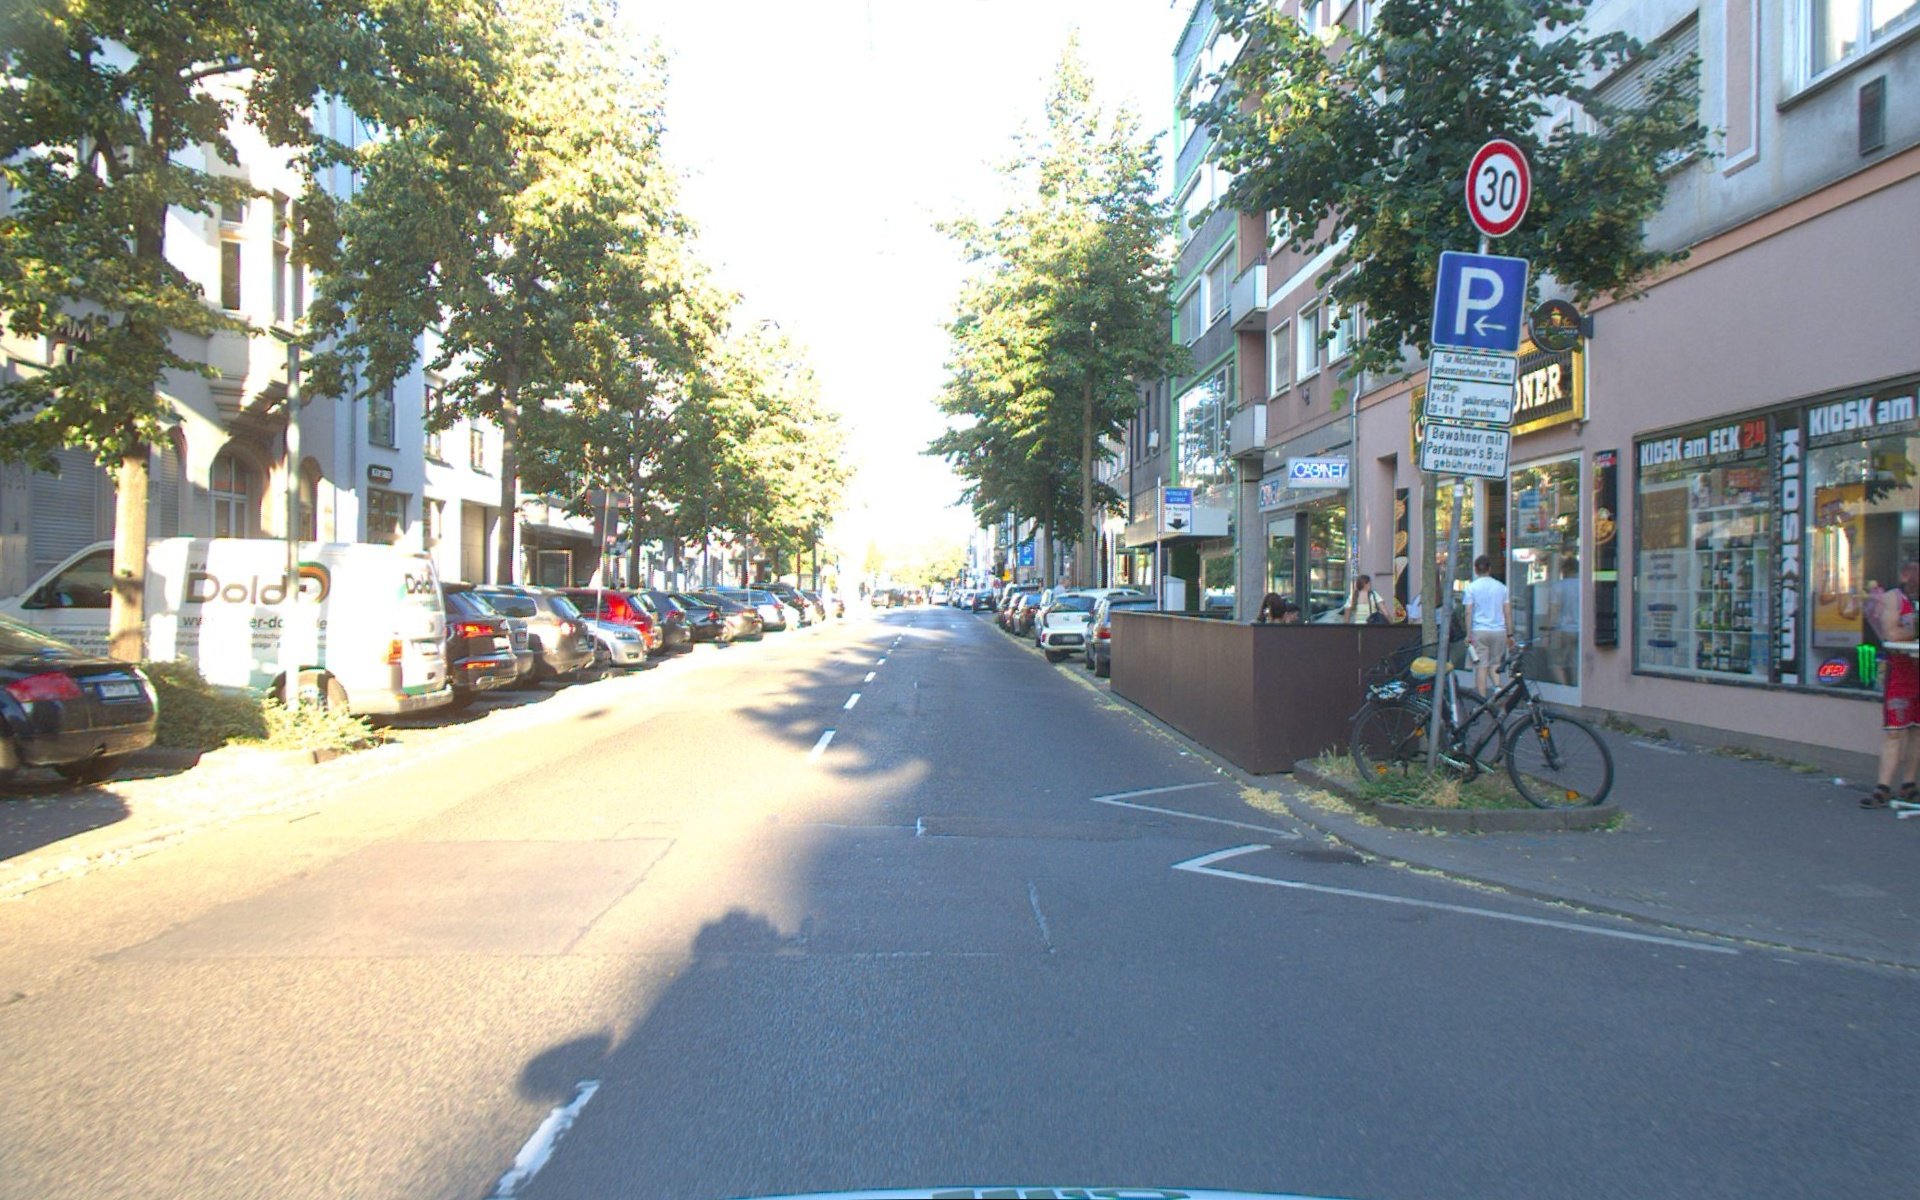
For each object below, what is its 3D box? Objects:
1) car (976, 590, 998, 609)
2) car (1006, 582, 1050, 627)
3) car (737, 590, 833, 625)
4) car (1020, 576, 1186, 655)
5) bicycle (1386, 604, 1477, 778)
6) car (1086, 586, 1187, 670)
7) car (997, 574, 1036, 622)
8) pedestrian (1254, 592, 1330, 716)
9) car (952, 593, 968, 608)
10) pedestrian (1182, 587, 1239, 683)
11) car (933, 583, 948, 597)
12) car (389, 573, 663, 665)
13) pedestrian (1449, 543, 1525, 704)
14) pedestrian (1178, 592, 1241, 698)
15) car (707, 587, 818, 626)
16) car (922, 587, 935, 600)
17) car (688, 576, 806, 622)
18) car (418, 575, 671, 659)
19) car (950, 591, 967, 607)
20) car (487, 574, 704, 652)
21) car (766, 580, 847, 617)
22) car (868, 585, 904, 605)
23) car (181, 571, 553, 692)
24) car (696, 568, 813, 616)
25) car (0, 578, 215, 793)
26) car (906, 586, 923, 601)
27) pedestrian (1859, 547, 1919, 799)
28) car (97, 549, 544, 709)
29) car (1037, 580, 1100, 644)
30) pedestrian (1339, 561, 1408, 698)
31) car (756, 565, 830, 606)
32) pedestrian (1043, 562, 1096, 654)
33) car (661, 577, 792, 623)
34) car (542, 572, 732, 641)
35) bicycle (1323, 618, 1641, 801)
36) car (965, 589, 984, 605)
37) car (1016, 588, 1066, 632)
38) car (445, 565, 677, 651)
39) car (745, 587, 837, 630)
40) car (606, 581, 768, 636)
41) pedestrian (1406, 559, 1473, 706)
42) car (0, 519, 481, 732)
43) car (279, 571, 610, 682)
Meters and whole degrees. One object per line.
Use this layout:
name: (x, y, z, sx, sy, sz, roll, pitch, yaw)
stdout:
car: (1.899, -0.036, 115.146, 1.482, 1.298, 3.303, 1, 0, 0)
car: (2.488, 0.158, 61.245, 1.482, 1.589, 3.514, 1, 0, 0)
car: (-8.379, 0.362, 79.462, 4.351, 1.606, 1.919, 1, 0, -1)
car: (3.136, 0.320, 35.748, 1.645, 1.616, 3.801, 1, 0, 41)
bicycle: (3.590, 0.637, 12.514, 0.585, 1.198, 1.847, 0, 0, 18)
car: (3.202, 0.480, 30.610, 1.511, 1.458, 3.678, 1, 0, 1)
car: (2.304, -0.069, 67.806, 1.482, 1.897, 4.235, 1, 0, 0)
pedestrian: (3.845, 0.614, 19.225, 0.711, 1.402, 0.781, 0, 0, -1)
car: (0.013, 0.055, 156.216, 1.482, 1.321, 3.303, 1, 0, 0)
pedestrian: (3.740, 0.511, 24.739, 0.711, 1.402, 0.781, 0, 0, -1)
car: (-2.128, -1.074, 180.936, 1.685, 1.501, 3.303, 0, 0, 0)
car: (-7.628, 0.331, 29.361, 4.351, 1.510, 1.809, 1, 0, -1)
pedestrian: (6.144, 0.262, 19.322, 0.683, 1.836, 0.892, 0, 0, 7)
pedestrian: (3.378, 0.594, 22.424, 0.711, 1.402, 0.781, 0, 0, -1)
car: (-8.133, 0.266, 68.375, 4.351, 1.525, 1.919, 1, 0, -1)
car: (-3.710, -0.727, 195.529, 1.537, 1.532, 3.303, 0, 0, 0)
car: (-8.105, -0.038, 63.154, 4.216, 1.626, 1.919, 1, 0, -1)
car: (-7.877, 0.307, 31.662, 4.351, 1.484, 1.859, 1, 0, -1)
car: (-0.131, -0.115, 167.517, 1.716, 1.567, 3.303, 0, 0, 0)
car: (-8.018, 0.276, 36.646, 4.351, 1.595, 1.919, 1, 0, -1)
car: (-8.579, -0.068, 92.663, 4.351, 1.994, 1.919, 1, 0, -1)
car: (-6.106, -0.441, 137.142, 1.887, 1.599, 3.304, 1, 0, 20)
car: (-7.902, 0.410, 22.339, 4.351, 1.493, 1.779, 1, 0, -1)
car: (-8.057, -0.298, 65.258, 4.351, 1.789, 1.919, 1, 0, -1)
car: (-7.766, 0.545, 12.033, 3.712, 1.416, 2.044, 1, -1, 2)
car: (-4.806, -0.673, 175.501, 1.716, 1.567, 3.303, 0, 0, 0)
pedestrian: (6.466, 0.462, 11.036, 0.555, 1.627, 0.663, -1, 1, -1)
car: (-7.476, 0.326, 19.698, 4.478, 1.727, 2.060, 1, 0, -1)
car: (2.847, 0.310, 43.919, 1.482, 1.605, 3.218, 1, 0, 0)
pedestrian: (5.109, 0.351, 20.497, 0.779, 1.654, 0.913, 0, 0, 11)
car: (-10.367, -0.884, 102.663, 4.351, 2.477, 1.919, 1, 0, -1)
pedestrian: (2.385, 0.164, 36.155, 0.900, 1.959, 1.015, 2, 0, -11)
car: (-8.279, 0.007, 58.825, 4.351, 1.549, 1.919, 1, 0, -1)
car: (-8.026, 0.161, 41.360, 4.351, 1.595, 1.919, 1, 0, -1)
bicycle: (3.470, 0.686, 11.051, 1.918, 1.092, 0.704, 1, 0, 31)
car: (1.164, -0.239, 133.406, 1.482, 1.285, 3.303, 1, 0, 0)
car: (2.709, 0.336, 56.049, 1.482, 1.430, 3.837, 1, 0, 0)
car: (-8.238, 0.165, 34.412, 4.351, 1.667, 1.859, 1, 0, -1)
car: (-8.371, 0.426, 82.285, 4.351, 2.051, 1.919, 1, 0, -1)
car: (-7.845, 0.234, 47.859, 4.351, 1.474, 1.919, 1, 0, -1)
pedestrian: (5.706, 0.374, 19.715, 0.617, 1.709, 0.892, 0, 0, 7)
car: (-7.483, 0.243, 17.040, 4.479, 1.996, 1.990, 1, 0, -1)
car: (-7.646, 0.382, 24.843, 4.351, 1.532, 1.844, 1, 0, -1)
